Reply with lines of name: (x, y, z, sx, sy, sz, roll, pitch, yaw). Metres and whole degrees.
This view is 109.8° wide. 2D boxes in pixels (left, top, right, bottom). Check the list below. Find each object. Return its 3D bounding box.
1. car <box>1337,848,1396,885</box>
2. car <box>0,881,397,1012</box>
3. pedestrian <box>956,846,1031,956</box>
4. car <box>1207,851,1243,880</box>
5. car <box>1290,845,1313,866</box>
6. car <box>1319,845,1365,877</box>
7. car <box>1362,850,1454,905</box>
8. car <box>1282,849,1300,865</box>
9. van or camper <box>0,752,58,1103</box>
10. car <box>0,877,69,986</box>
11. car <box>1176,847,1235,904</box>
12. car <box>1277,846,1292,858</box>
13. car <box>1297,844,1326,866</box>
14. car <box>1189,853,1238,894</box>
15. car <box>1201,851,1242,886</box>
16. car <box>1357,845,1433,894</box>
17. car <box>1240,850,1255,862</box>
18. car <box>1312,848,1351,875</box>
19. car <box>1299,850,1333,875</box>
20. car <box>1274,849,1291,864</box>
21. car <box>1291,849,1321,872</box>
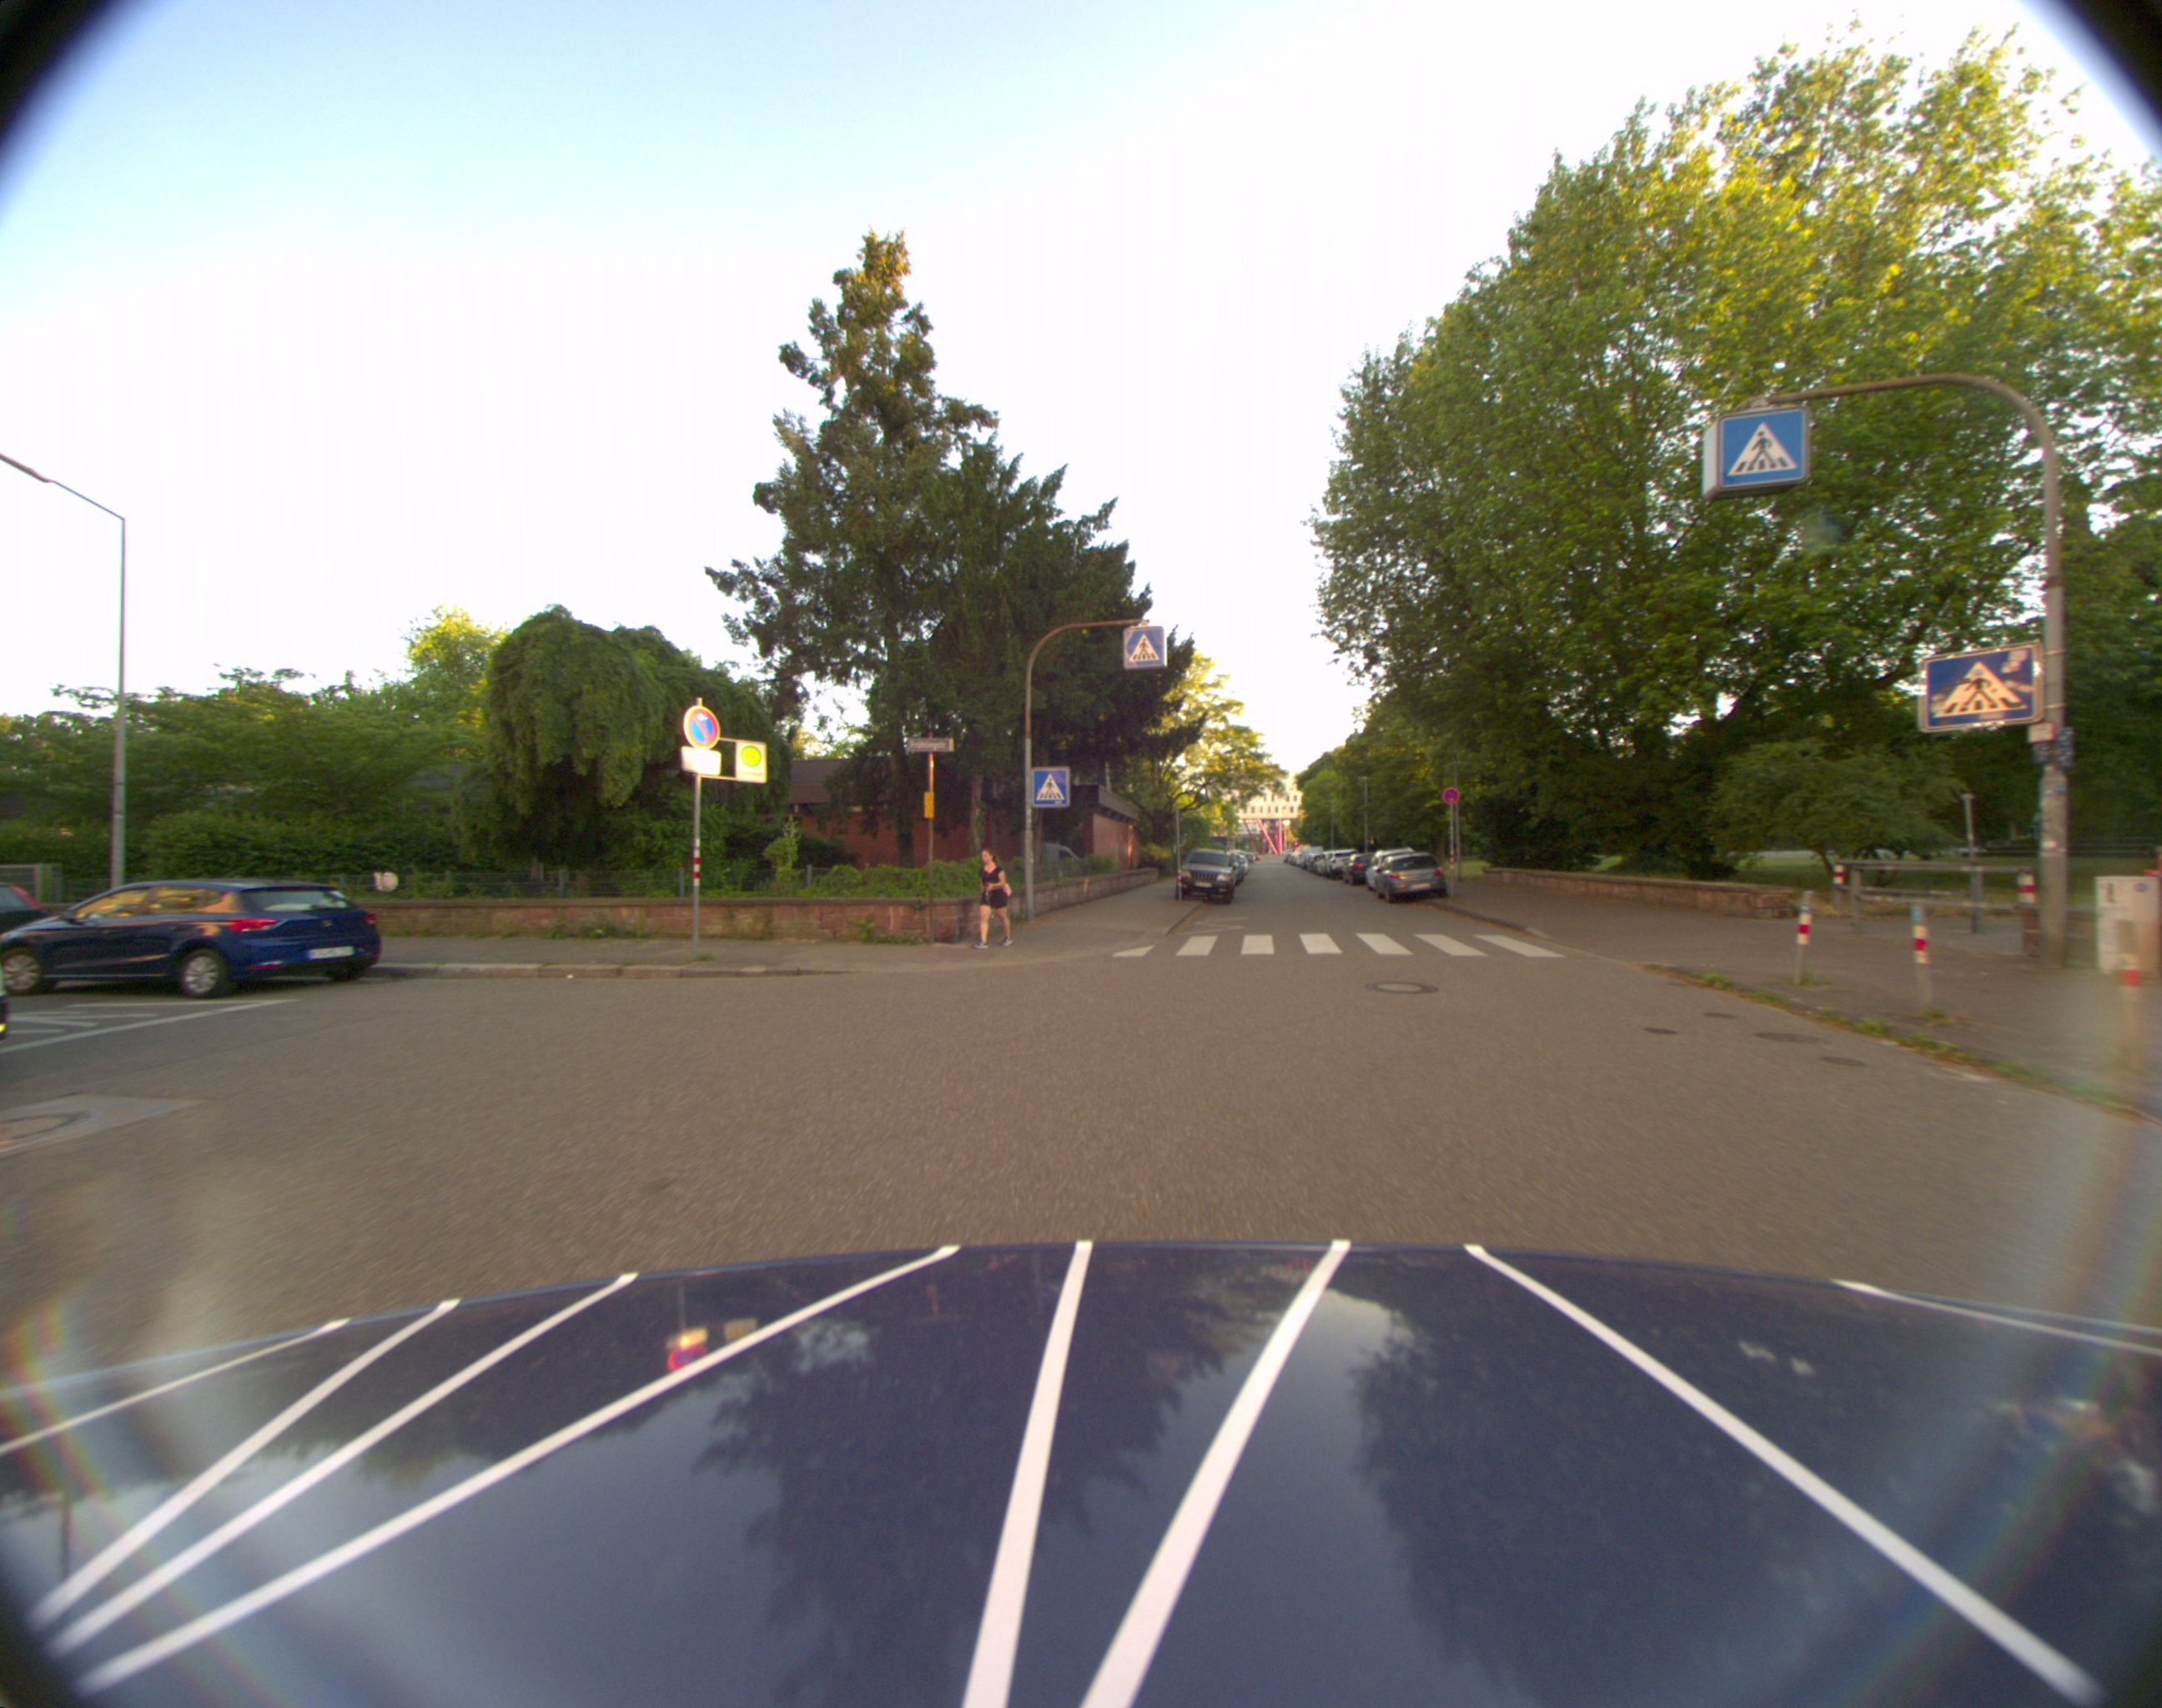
car: (13.347, 0.543, 35.719, 1.785, 1.467, 3.887, -6, -1, 10)
car: (-11.462, 1.129, 9.825, 3.786, 1.476, 1.724, -1, 0, 5)
pedestrian: (-1.447, 0.751, 12.636, 0.859, 1.716, 0.826, 4, 2, 25)
car: (8.006, 0.607, 42.325, 1.784, 1.491, 3.887, 3, 1, 10)
car: (23.219, 0.165, 80.124, 1.785, 2.024, 3.887, -6, -1, 10)
car: (14.993, 0.399, 43.788, 1.785, 1.562, 3.887, -6, -1, 10)
car: (10.408, 0.698, 24.455, 1.785, 1.442, 3.887, -6, -1, 10)
car: (26.353, 0.369, 95.470, 1.785, 1.784, 3.887, -6, -1, 10)
van or camper: (-11.480, 0.642, 5.683, 6.857, 2.576, 2.097, -1, 3, 16)
car: (-16.593, 1.099, 10.529, 3.506, 1.476, 1.535, -1, 0, 7)
car: (4.230, 0.669, 25.600, 1.784, 1.743, 3.887, 1, 0, 10)
car: (32.713, -0.330, 122.056, 1.785, 1.772, 4.015, -6, -1, 10)
car: (21.115, 0.089, 69.730, 1.963, 1.825, 3.887, -6, -1, 10)
car: (5.481, 0.751, 31.311, 1.784, 1.491, 3.887, 3, 1, 10)
car: (6.852, 0.671, 37.010, 1.784, 1.491, 3.887, 3, 1, 10)
car: (11.905, 0.563, 29.089, 1.785, 1.568, 3.887, -6, -1, 10)
car: (24.736, 0.282, 113.088, 1.997, 1.739, 4.003, -2, 0, 11)
car: (16.379, 0.462, 49.854, 1.785, 1.562, 3.887, -6, -1, 10)
car: (16.921, 0.565, 54.827, 1.785, 1.562, 3.887, -6, -1, 10)
car: (27.989, 0.346, 105.471, 1.785, 1.772, 4.015, -6, -1, 10)
car: (17.820, 0.482, 60.370, 1.785, 1.562, 3.887, -6, -1, 10)
